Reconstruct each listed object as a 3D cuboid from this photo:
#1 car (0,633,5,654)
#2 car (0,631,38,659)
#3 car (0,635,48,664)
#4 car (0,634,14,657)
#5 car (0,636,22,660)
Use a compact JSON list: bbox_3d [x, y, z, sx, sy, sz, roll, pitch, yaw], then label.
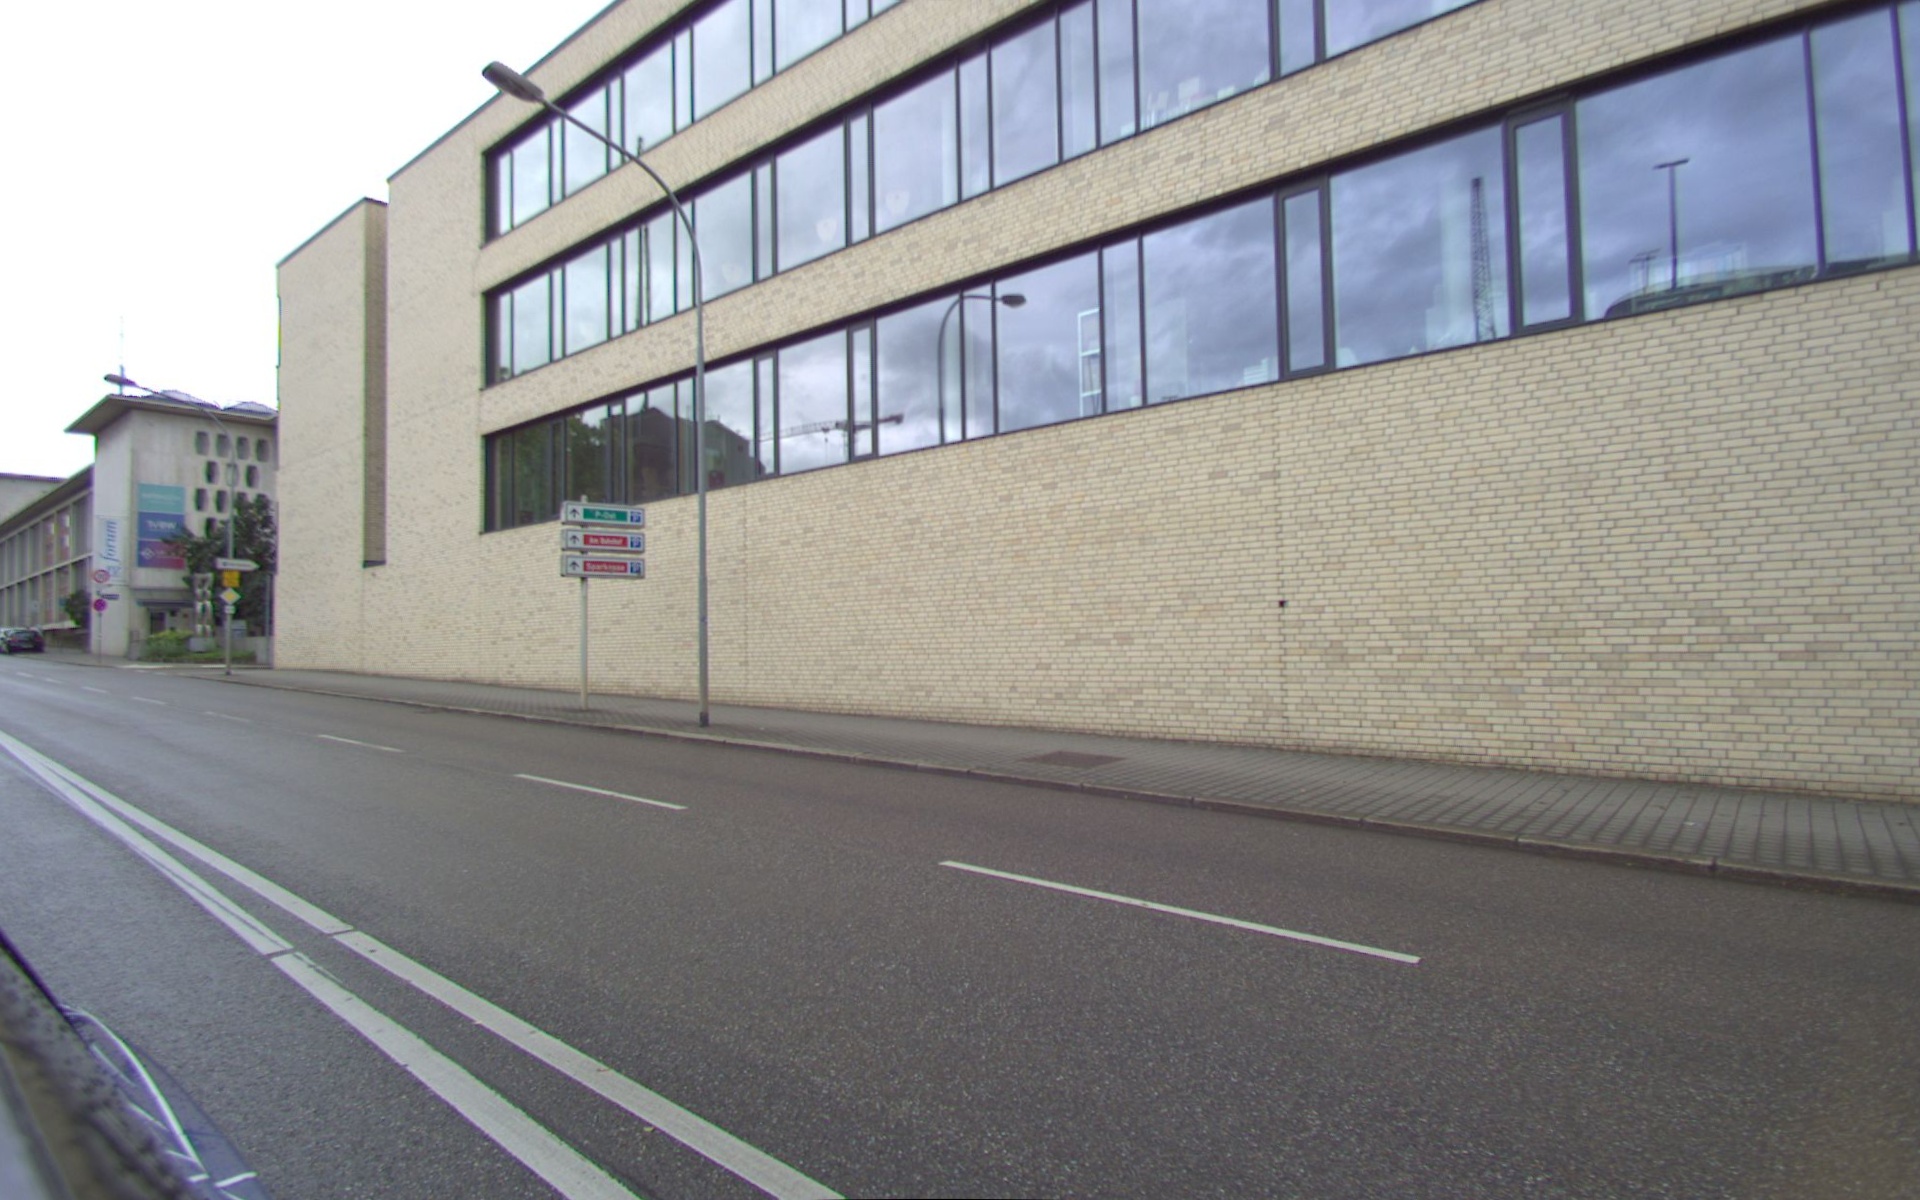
[{"bbox_3d":[-74.152,3.367,76.771,3.996,1.541,1.974,-1,2,40],"label":"car"},{"bbox_3d":[-61.619,2.895,65.801,3.998,1.654,1.973,-1,0,41],"label":"car"},{"bbox_3d":[-57.730,3.013,62.168,3.997,1.541,1.974,-1,0,40],"label":"car"},{"bbox_3d":[-69.538,3.280,72.625,4.184,1.502,1.973,-1,0,41],"label":"car"},{"bbox_3d":[-65.856,3.293,69.330,3.999,1.523,1.972,-1,0,42],"label":"car"}]
